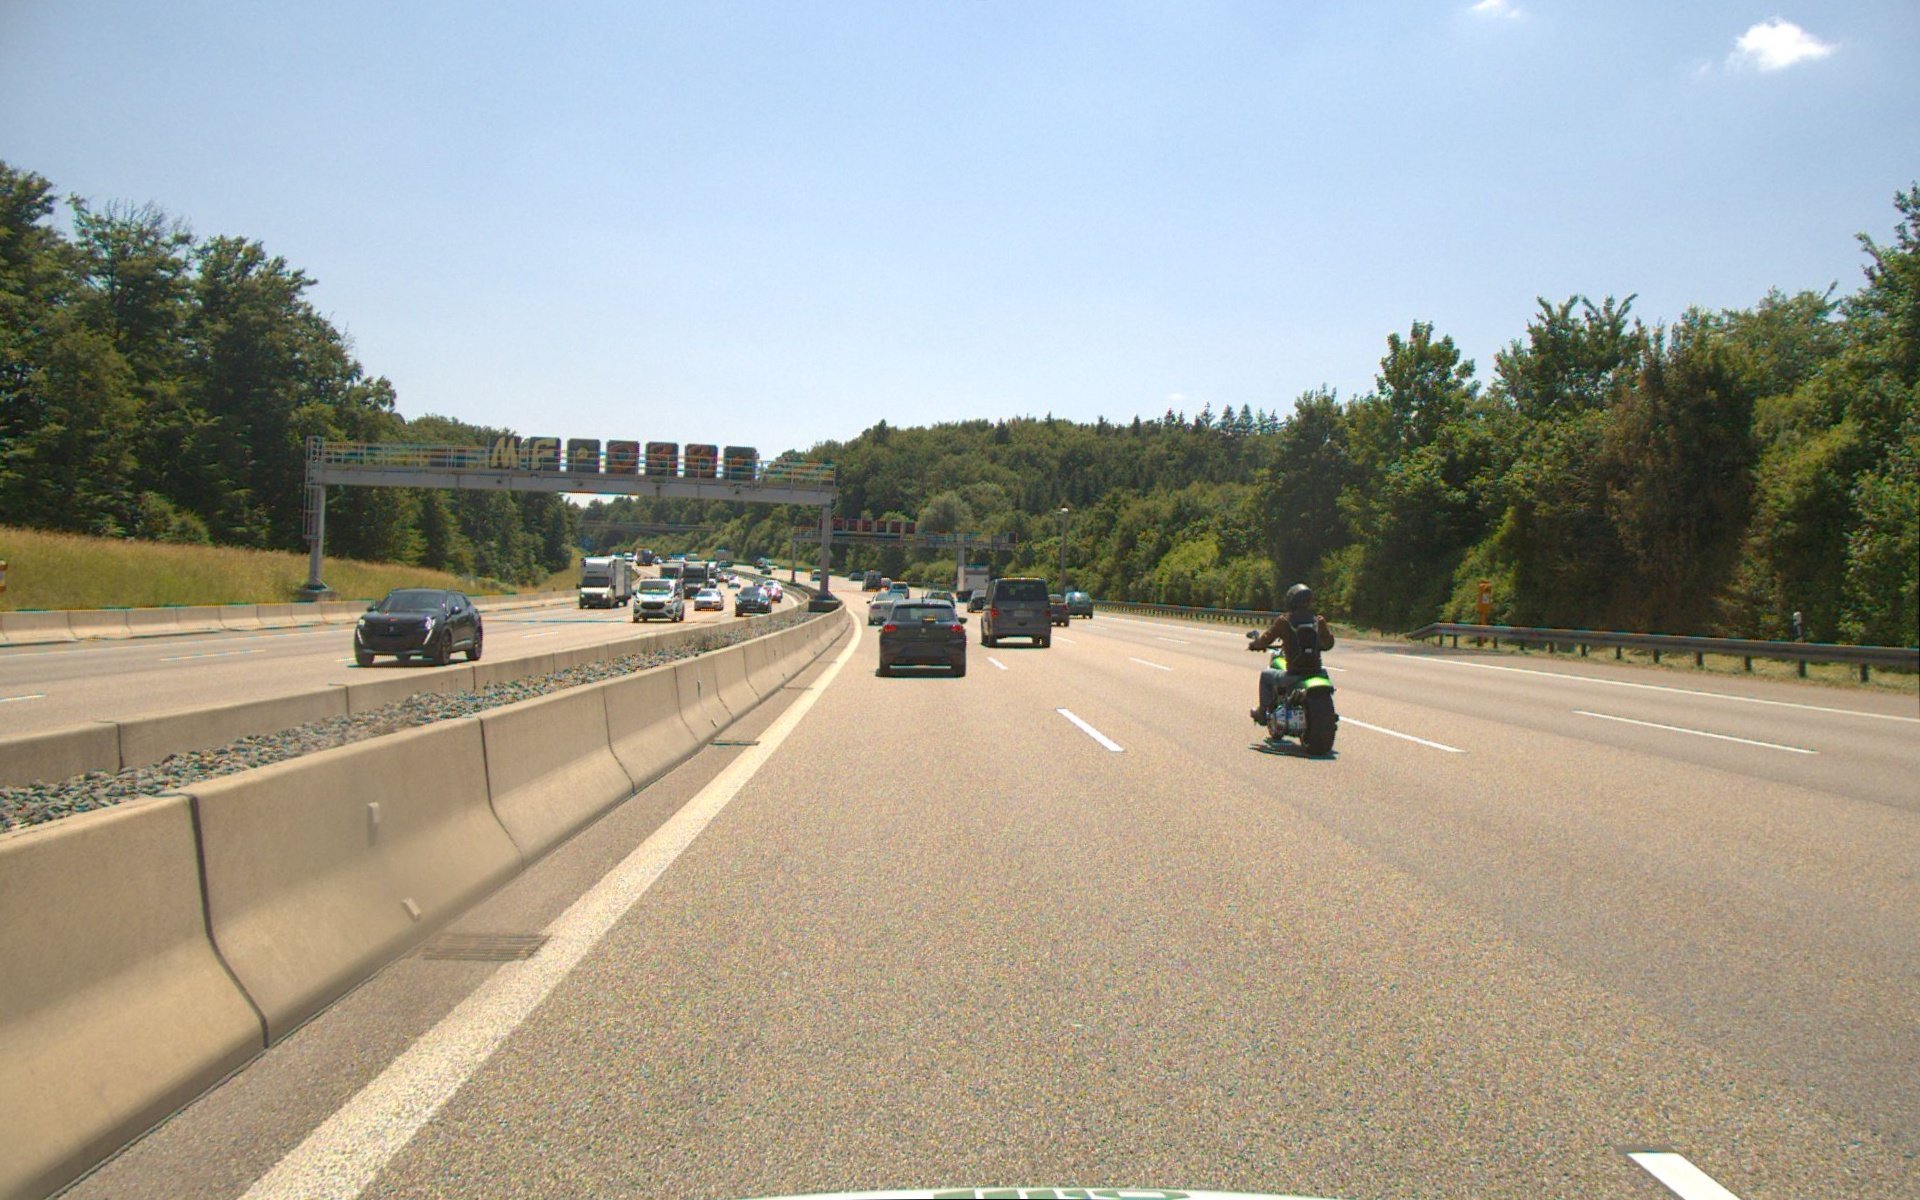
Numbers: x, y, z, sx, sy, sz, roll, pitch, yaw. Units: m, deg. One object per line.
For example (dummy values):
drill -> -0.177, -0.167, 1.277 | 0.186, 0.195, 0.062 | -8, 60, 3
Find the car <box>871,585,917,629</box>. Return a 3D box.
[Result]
car -> -3.015, 0.345, 75.962 | 1.971, 1.878, 3.999 | 0, -2, -1

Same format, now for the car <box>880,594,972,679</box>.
car -> -0.696, 0.671, 32.791 | 1.673, 1.458, 3.999 | 1, 1, -2

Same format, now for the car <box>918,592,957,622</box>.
car -> -1.367, 0.404, 98.914 | 1.955, 1.758, 4.143 | 0, 0, -6

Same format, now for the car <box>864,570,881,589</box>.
car -> -11.306, -2.627, 213.766 | 2.220, 2.412, 4.700 | 0, 1, -3

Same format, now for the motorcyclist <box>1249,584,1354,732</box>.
motorcyclist -> 3.443, 0.567, 16.769 | 0.835, 1.452, 1.023 | 0, 1, -1

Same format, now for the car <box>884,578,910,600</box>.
car -> -5.546, -0.954, 145.198 | 2.062, 1.774, 4.684 | 1, 2, -4

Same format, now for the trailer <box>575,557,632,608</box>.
trailer -> -24.392, -1.147, 113.574 | 2.426, 3.209, 10.469 | 1, -1, -5

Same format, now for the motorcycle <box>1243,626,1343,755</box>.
motorcycle -> 3.397, 0.881, 17.049 | 0.525, 1.155, 2.436 | 0, 1, -1

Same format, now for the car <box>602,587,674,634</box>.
car -> -12.636, 0.382, 65.224 | 2.242, 1.758, 5.026 | 0, 1, -5

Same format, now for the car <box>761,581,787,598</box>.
car -> -15.843, -0.895, 141.100 | 2.007, 1.467, 5.217 | 0, 0, -4

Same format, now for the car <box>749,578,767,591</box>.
car -> -25.748, -2.019, 210.852 | 1.954, 1.618, 4.840 | 0, 1, -4

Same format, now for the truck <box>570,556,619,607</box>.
truck -> -23.953, -1.192, 108.487 | 2.439, 3.222, 4.398 | 1, 0, -4

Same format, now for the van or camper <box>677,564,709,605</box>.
van or camper -> -24.924, -1.476, 154.790 | 2.383, 3.742, 7.750 | 0, 0, -5

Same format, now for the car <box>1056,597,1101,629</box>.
car -> 6.652, 0.721, 93.375 | 1.955, 1.758, 3.996 | 0, 0, -5

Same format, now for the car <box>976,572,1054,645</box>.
car -> 1.606, 0.235, 49.921 | 1.924, 2.069, 5.080 | 0, 0, -3

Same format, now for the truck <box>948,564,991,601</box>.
truck -> 0.829, -1.660, 152.439 | 2.929, 3.221, 7.563 | 1, 2, -7

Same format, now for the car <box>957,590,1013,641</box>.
car -> 0.874, 0.570, 59.871 | 1.905, 1.742, 4.000 | 1, -1, 0

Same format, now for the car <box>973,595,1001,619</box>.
car -> 1.746, 0.445, 108.683 | 1.632, 1.433, 4.902 | 1, 2, -2

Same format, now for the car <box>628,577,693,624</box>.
car -> -13.949, 0.010, 77.430 | 2.152, 2.091, 7.136 | 0, 0, -4

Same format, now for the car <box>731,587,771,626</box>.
car -> -11.423, 0.370, 90.567 | 1.955, 2.049, 3.995 | 1, -1, -5

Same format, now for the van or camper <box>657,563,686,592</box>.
van or camper -> -34.506, -2.658, 198.106 | 2.711, 3.180, 8.085 | 1, -1, -5

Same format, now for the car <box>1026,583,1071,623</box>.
car -> 4.017, 0.137, 75.643 | 1.812, 1.758, 3.999 | 0, 0, -1

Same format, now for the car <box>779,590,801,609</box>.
car -> -16.595, -0.077, 161.248 | 1.954, 1.758, 3.998 | 0, 0, -3

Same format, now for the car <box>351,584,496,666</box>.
car -> -11.145, 0.514, 34.656 | 1.641, 1.553, 4.608 | 1, -1, -2
